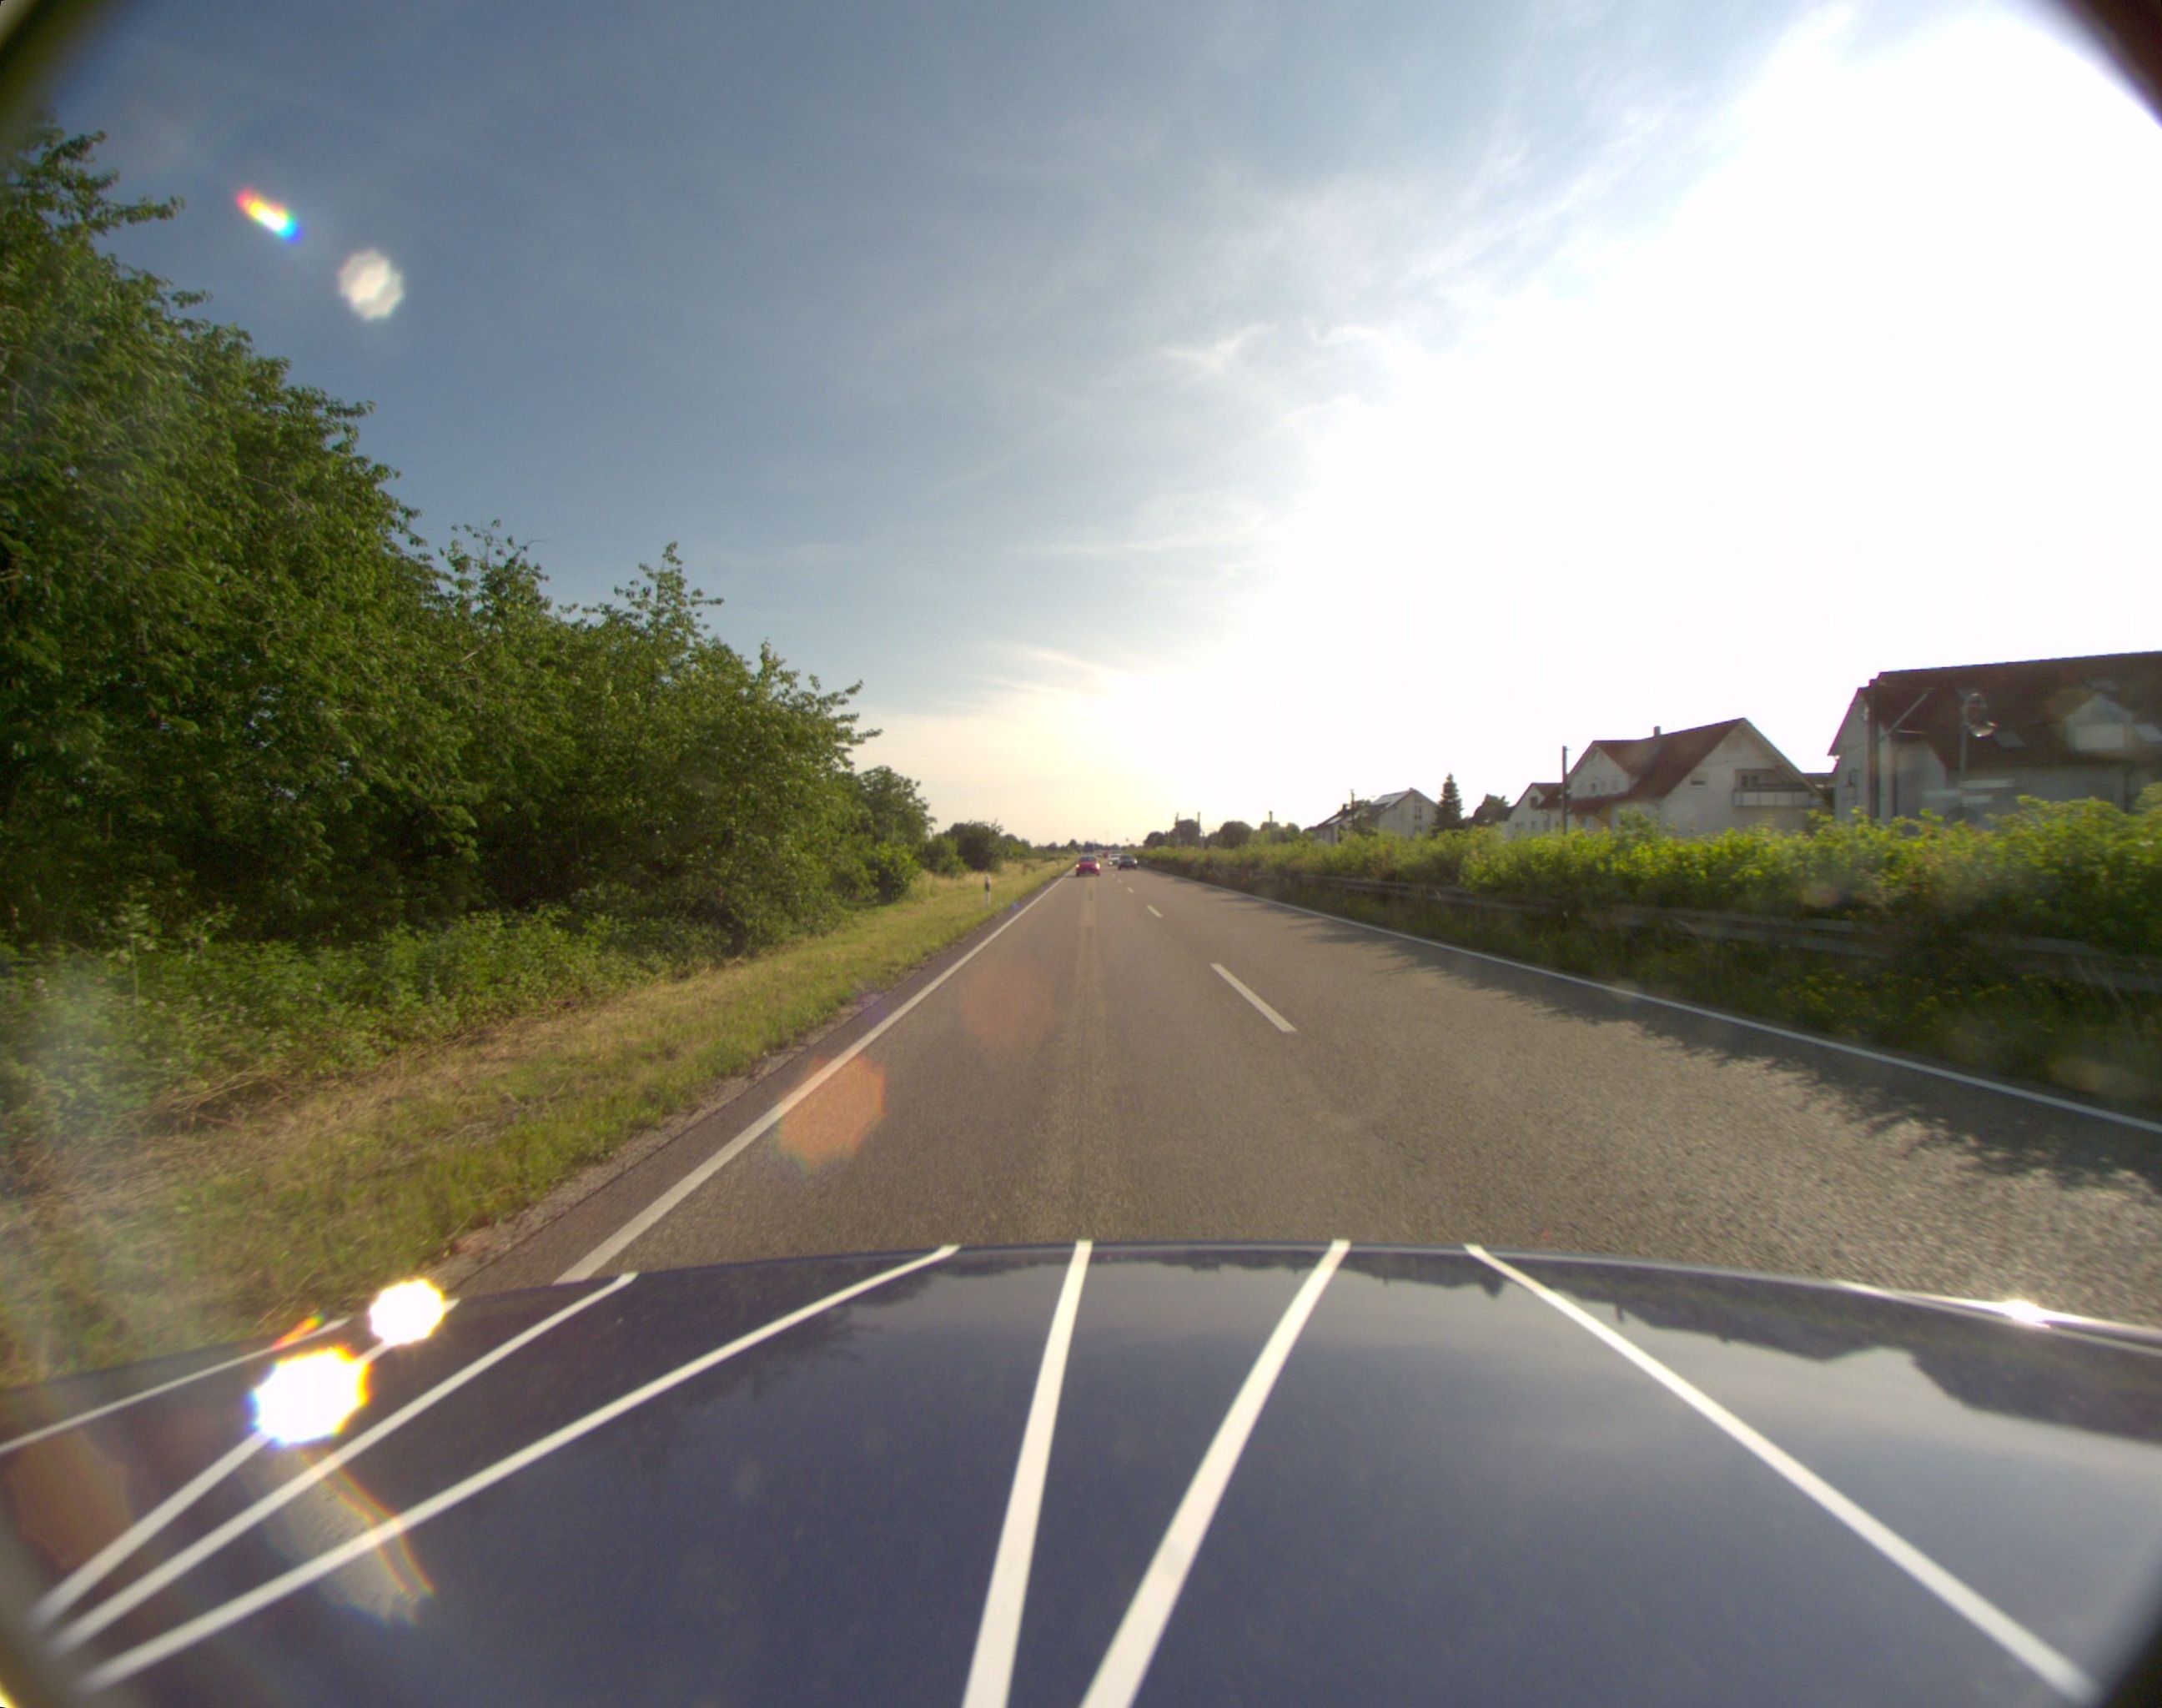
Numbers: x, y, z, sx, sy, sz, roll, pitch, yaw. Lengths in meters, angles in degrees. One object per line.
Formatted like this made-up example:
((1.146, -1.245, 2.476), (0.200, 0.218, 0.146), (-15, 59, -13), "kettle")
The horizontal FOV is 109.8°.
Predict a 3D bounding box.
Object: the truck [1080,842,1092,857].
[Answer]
((1.432, -1.227, 199.530), (2.849, 3.897, 10.103), (-2, 1, 1), "truck")

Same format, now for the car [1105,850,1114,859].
((6.453, 0.053, 171.458), (1.998, 2.002, 4.000), (-2, 0, 2), "car")

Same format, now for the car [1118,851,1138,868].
((4.417, 0.472, 71.901), (1.636, 1.500, 4.000), (-2, 1, 1), "car")

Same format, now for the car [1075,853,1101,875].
((0.541, 0.681, 55.640), (1.735, 1.467, 4.000), (-2, 1, 1), "car")

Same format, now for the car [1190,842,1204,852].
((21.402, -1.290, 140.529), (1.998, 1.740, 4.000), (-2, 1, 1), "car")

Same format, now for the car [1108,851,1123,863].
((4.324, 0.376, 95.615), (1.636, 1.442, 4.000), (-2, 1, 1), "car")
